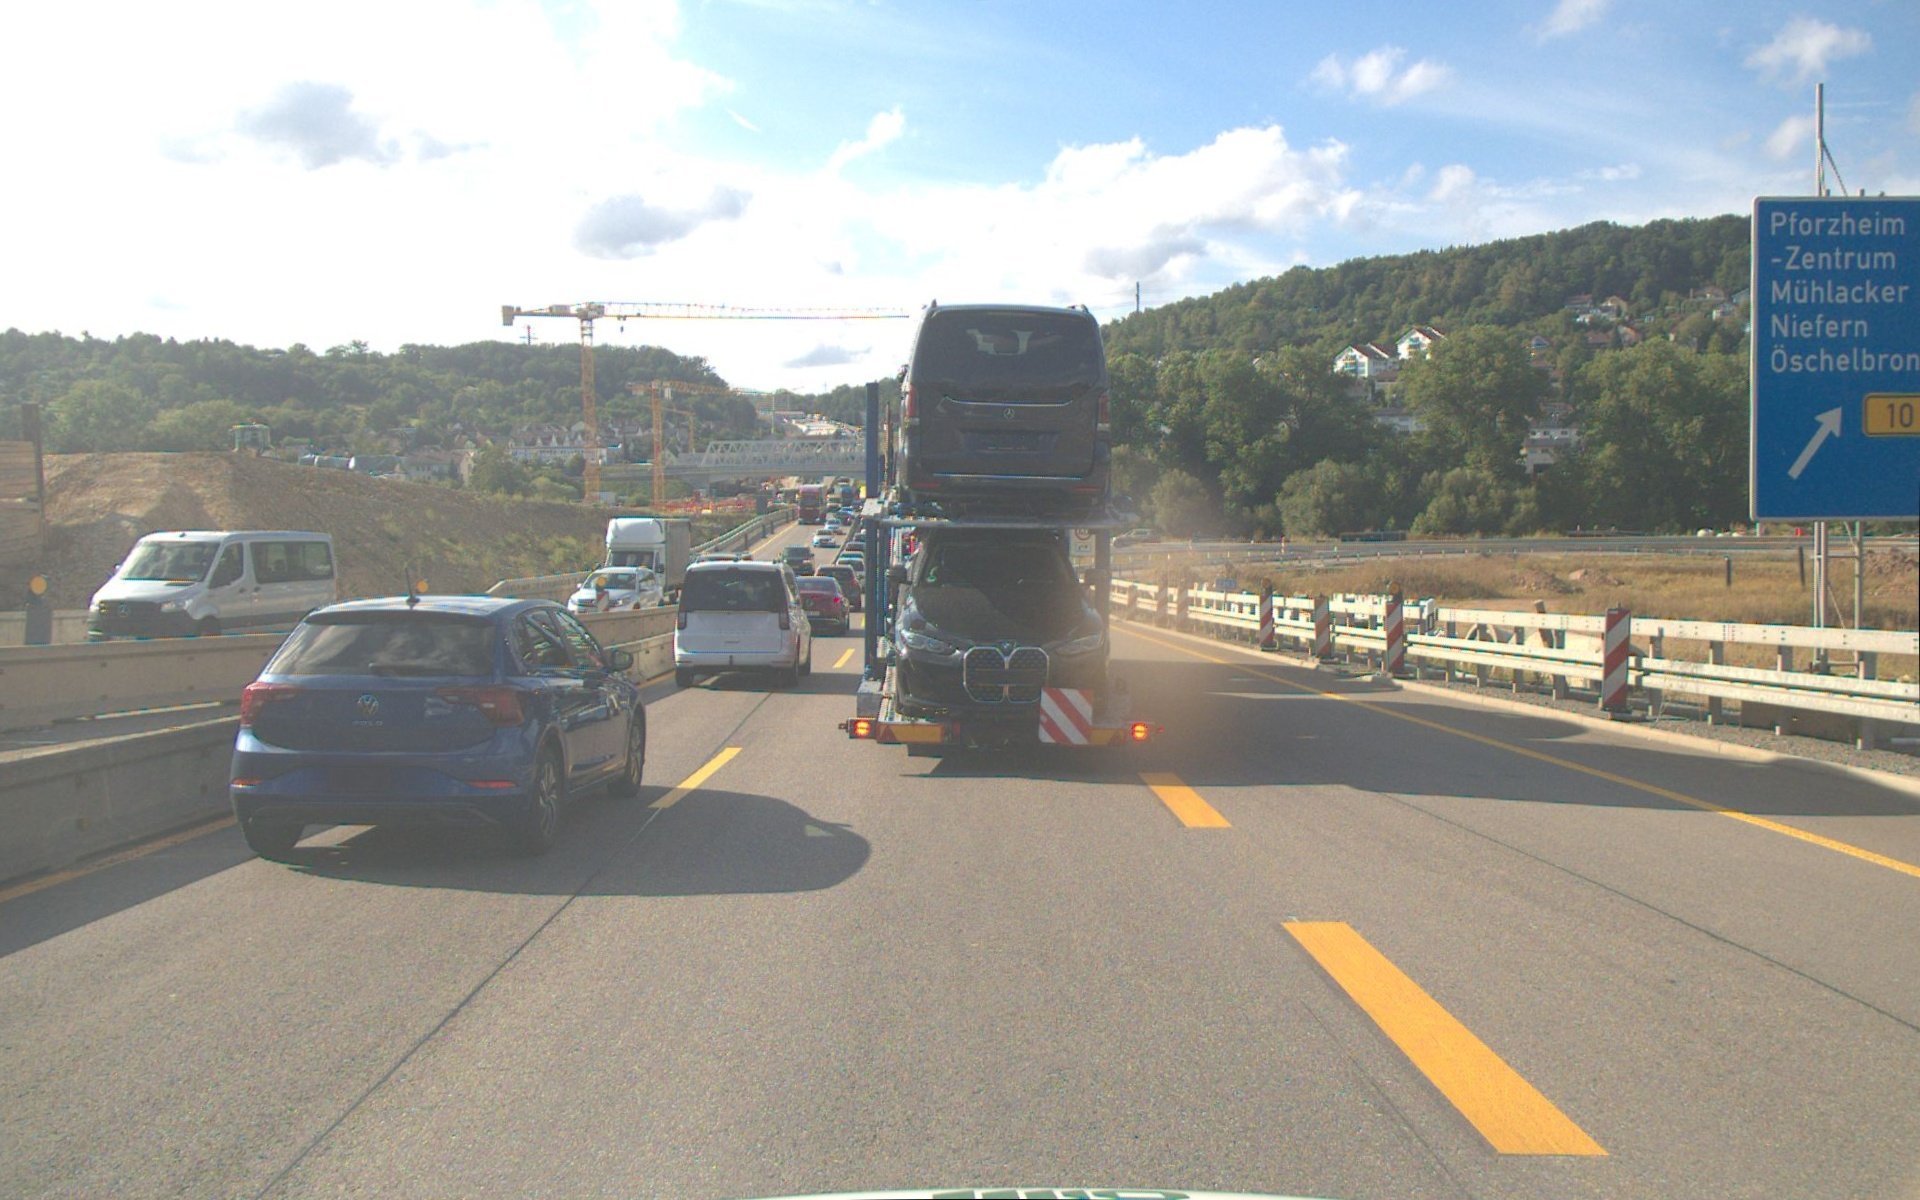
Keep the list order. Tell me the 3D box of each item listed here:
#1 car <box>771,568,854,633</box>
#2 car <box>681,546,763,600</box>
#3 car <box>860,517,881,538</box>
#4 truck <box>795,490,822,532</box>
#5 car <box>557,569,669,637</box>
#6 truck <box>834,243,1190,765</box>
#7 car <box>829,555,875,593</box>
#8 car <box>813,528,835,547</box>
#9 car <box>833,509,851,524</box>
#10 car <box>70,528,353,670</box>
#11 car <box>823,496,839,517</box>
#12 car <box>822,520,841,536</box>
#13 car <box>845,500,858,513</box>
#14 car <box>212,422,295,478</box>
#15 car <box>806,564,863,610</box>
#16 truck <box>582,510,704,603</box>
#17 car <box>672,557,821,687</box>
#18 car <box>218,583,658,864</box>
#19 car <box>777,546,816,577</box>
[{"bbox_3d":[-3.812,0.019,43.419,1.954,1.583,4.398,1,0,-3],"label":"car"},{"bbox_3d":[-8.511,-0.970,59.559,2.082,1.796,5.031,2,1,1],"label":"car"},{"bbox_3d":[-8.071,-6.498,148.616,1.808,1.677,4.501,0,1,-4],"label":"car"},{"bbox_3d":[-16.755,-9.822,183.137,2.858,4.463,6.280,1,1,-5],"label":"truck"},{"bbox_3d":[-9.407,0.042,45.187,2.082,1.703,4.273,2,1,1],"label":"car"},{"bbox_3d":[0.223,-0.816,22.423,2.697,4.023,18.885,2,0,-1],"label":"truck"},{"bbox_3d":[-5.015,-1.194,77.215,1.953,1.695,3.999,1,0,-1],"label":"car"},{"bbox_3d":[-11.460,-5.262,139.636,1.816,1.465,4.555,2,1,-4],"label":"car"},{"bbox_3d":[-13.004,-9.236,182.460,1.784,1.465,4.614,0,1,-1],"label":"car"},{"bbox_3d":[-14.091,-0.009,31.650,2.210,2.444,5.871,1,0,6],"label":"car"},{"bbox_3d":[-18.427,-13.366,236.889,1.953,2.929,6.065,1,3,-1],"label":"car"},{"bbox_3d":[-12.451,-7.004,160.548,1.719,1.465,3.803,0,1,-3],"label":"car"},{"bbox_3d":[-15.511,-13.393,237.206,1.808,1.677,4.234,0,1,-3],"label":"car"},{"bbox_3d":[-35.626,-7.549,83.546,1.954,2.177,5.319,-5,0,-2],"label":"car"},{"bbox_3d":[-4.546,-0.447,59.659,1.955,1.579,3.995,1,0,-5],"label":"car"},{"bbox_3d":[-12.222,-1.587,64.397,2.643,3.369,7.541,1,0,5],"label":"truck"},{"bbox_3d":[-3.194,0.316,25.431,1.786,1.823,3.999,1,0,-1],"label":"car"},{"bbox_3d":[-3.070,0.659,10.592,1.687,1.447,3.998,1,-1,-3],"label":"car"},{"bbox_3d":[-9.369,-2.193,94.983,1.815,1.664,4.747,2,1,-2],"label":"car"}]
